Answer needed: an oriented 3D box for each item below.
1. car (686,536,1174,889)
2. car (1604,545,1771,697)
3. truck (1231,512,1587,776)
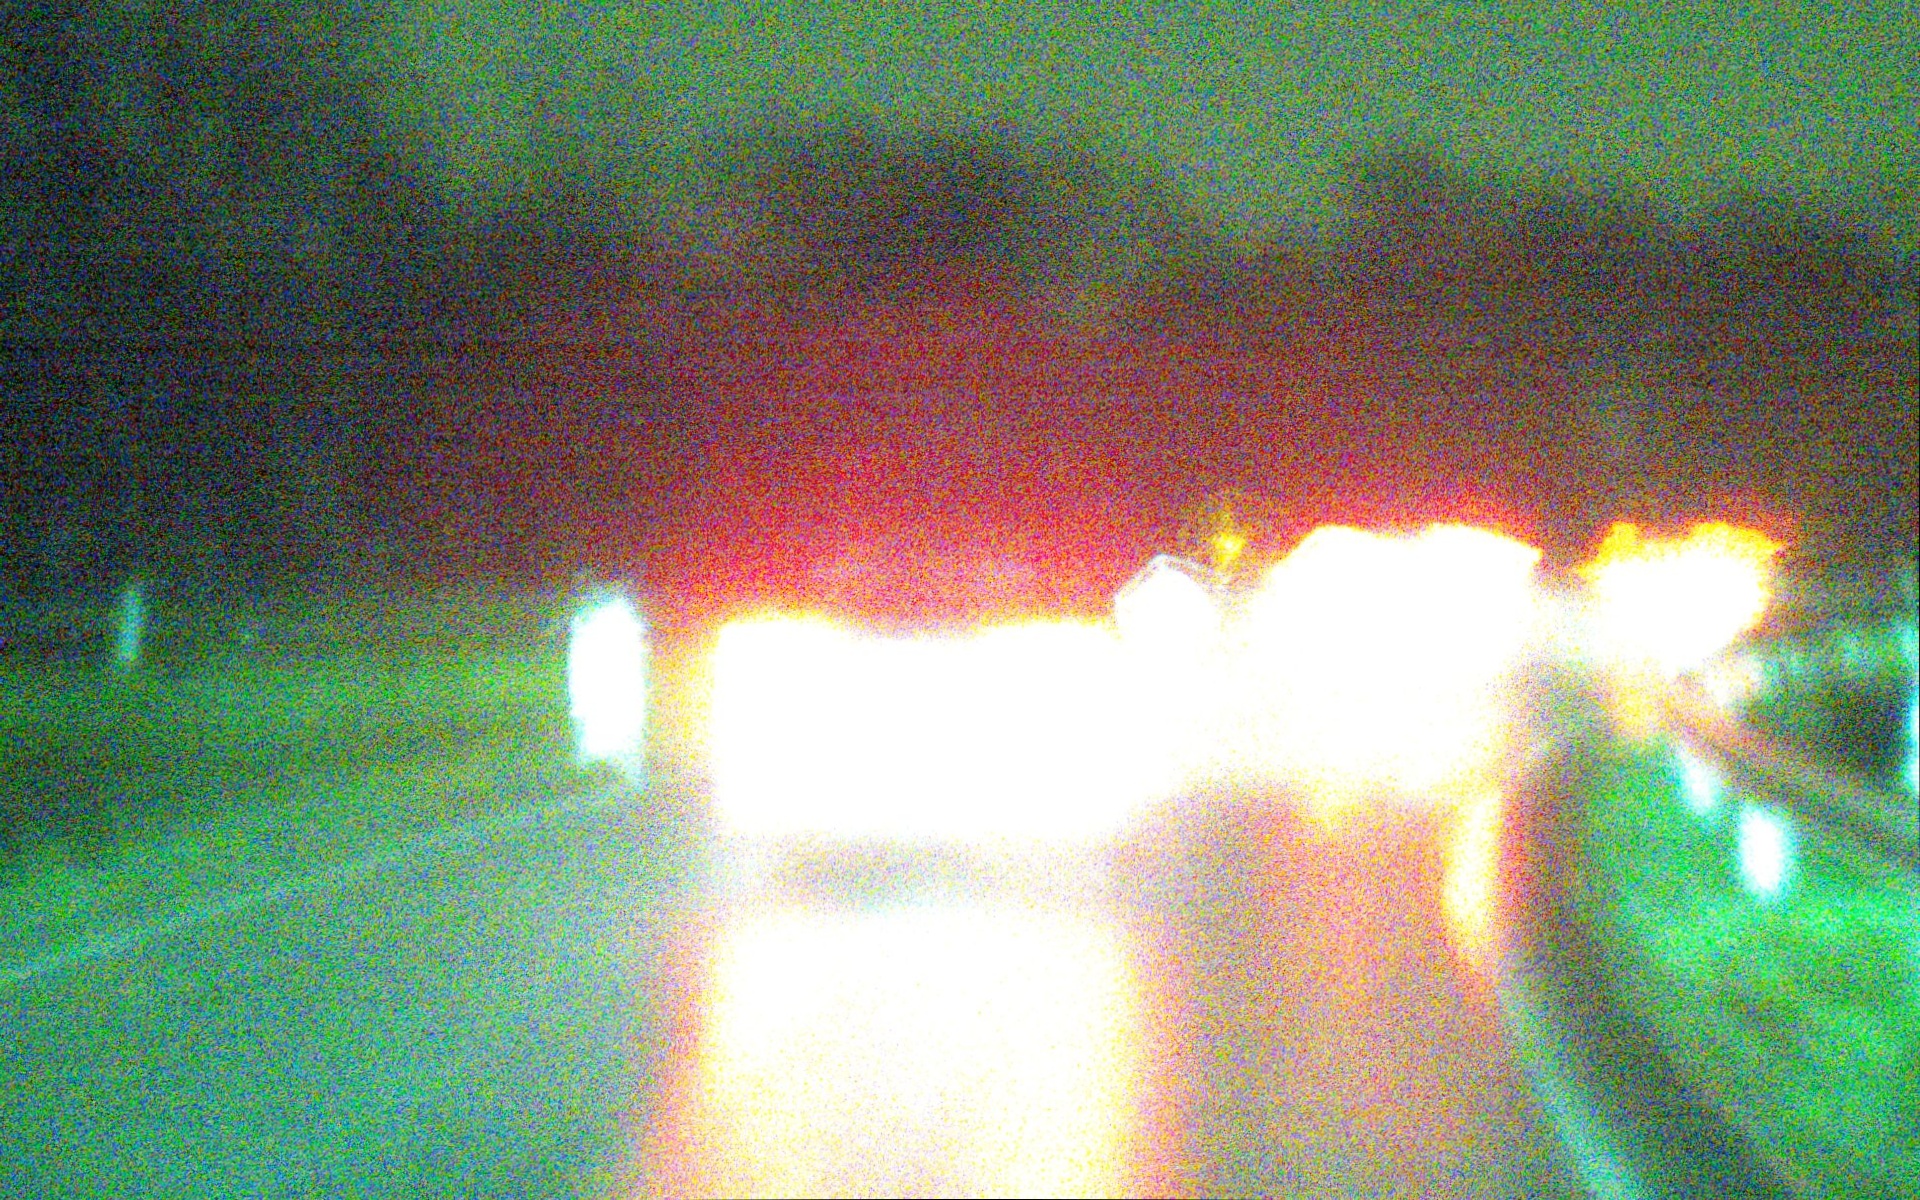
[{"bbox_3d":[-0.019,0.473,16.424,1.944,1.486,3.715,-1,0,5],"label":"car"},{"bbox_3d":[9.863,0.257,46.432,1.837,1.942,3.997,1,1,17],"label":"car"},{"bbox_3d":[5.002,0.394,37.081,3.071,2.520,7.162,1,1,13],"label":"truck"}]
